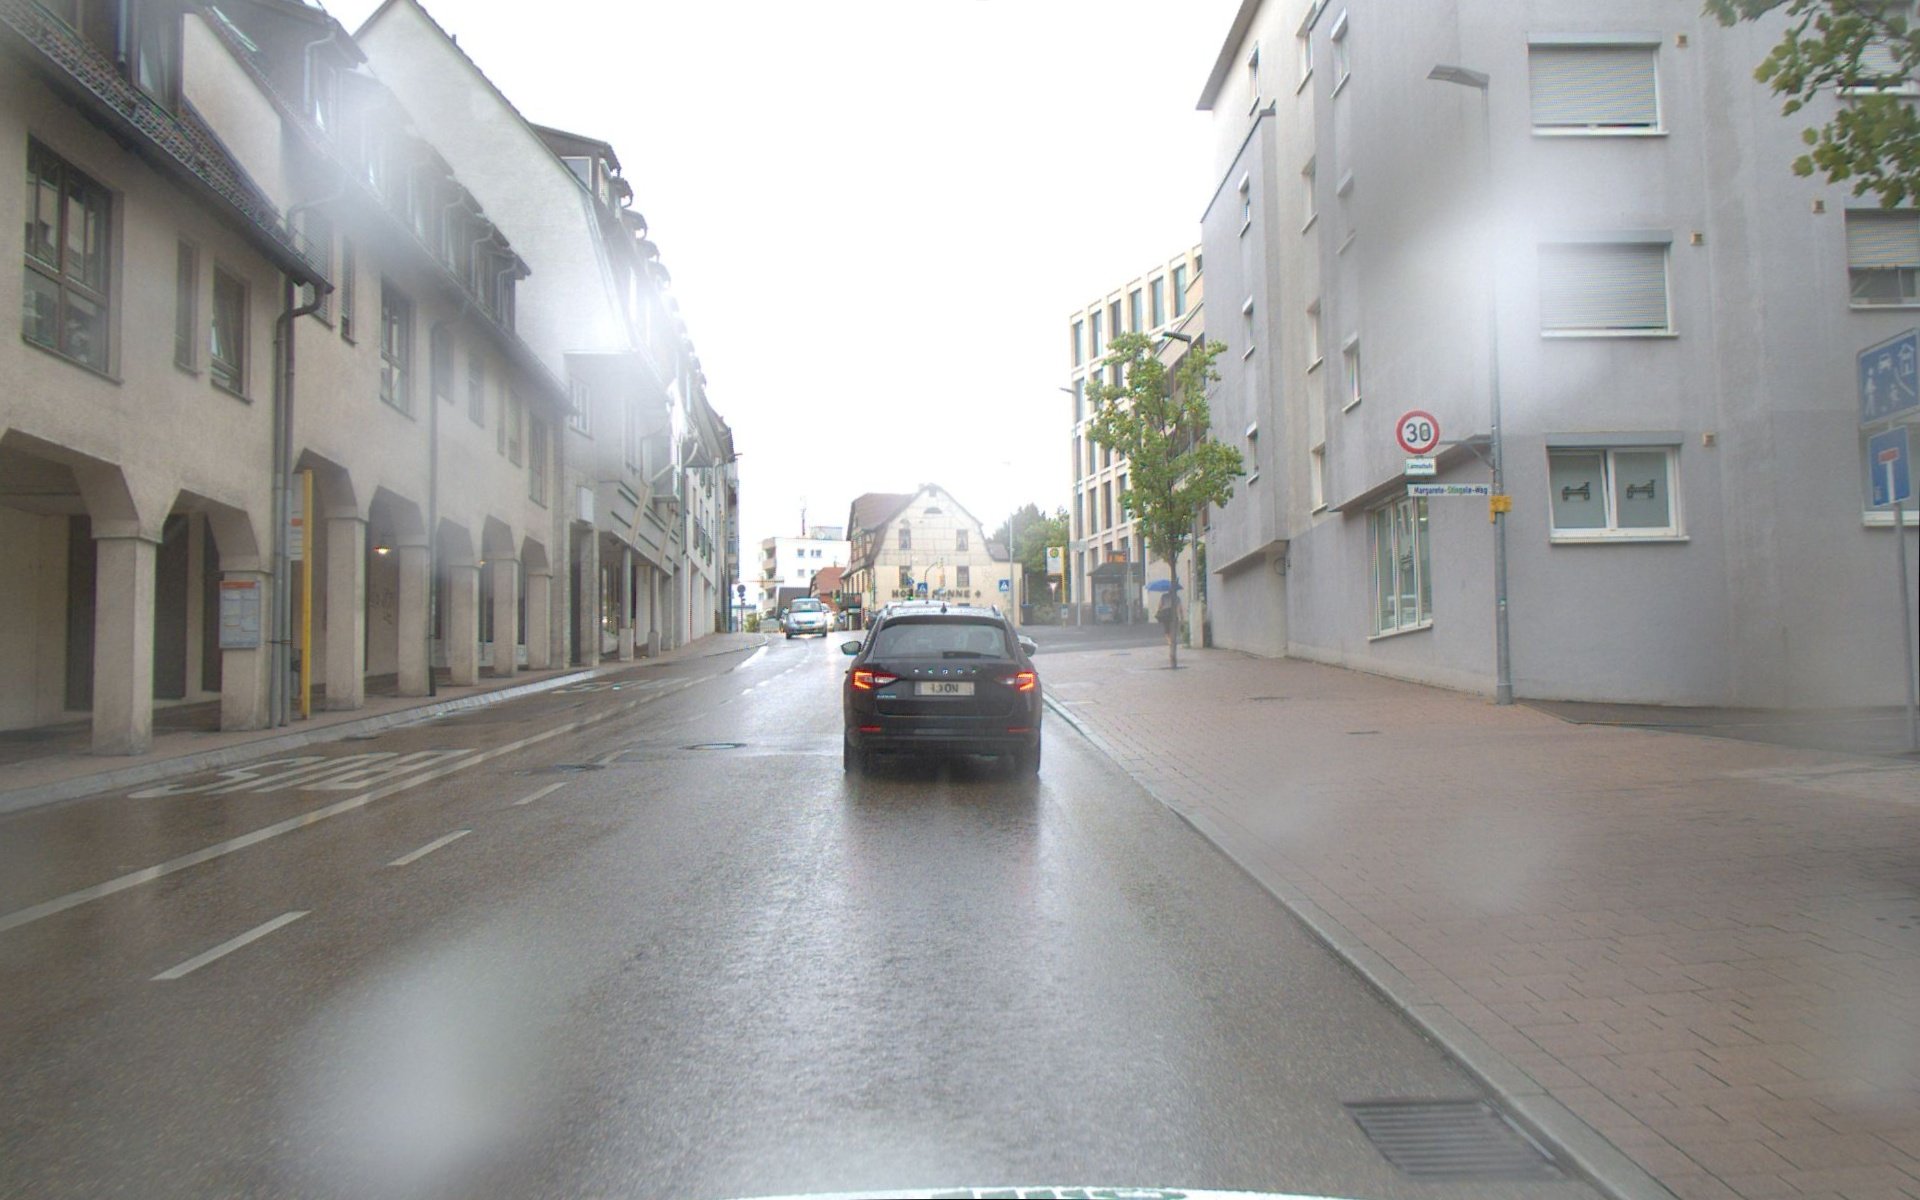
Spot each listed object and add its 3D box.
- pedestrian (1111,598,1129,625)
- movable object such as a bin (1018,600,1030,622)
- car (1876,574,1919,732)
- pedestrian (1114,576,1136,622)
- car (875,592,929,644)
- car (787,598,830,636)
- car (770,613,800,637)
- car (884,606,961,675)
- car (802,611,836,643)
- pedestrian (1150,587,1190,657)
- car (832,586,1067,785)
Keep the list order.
[{"bbox_3d":[7.210,0.534,74.573,0.658,1.182,0.635,-3,0,-2],"label":"pedestrian"},{"bbox_3d":[3.299,0.569,85.471,0.583,1.081,0.578,-2,0,-3],"label":"movable object such as a bin"},{"bbox_3d":[10.896,0.366,15.415,3.688,1.479,1.743,-4,-1,-3],"label":"car"},{"bbox_3d":[7.293,-0.058,73.047,0.766,1.974,1.021,-3,0,-2],"label":"pedestrian"},{"bbox_3d":[-1.897,0.582,54.127,1.647,1.587,3.998,-2,0,-2],"label":"car"},{"bbox_3d":[-6.435,0.698,70.460,1.643,1.536,3.586,-1,0,-3],"label":"car"},{"bbox_3d":[-10.969,1.561,103.401,1.646,1.434,3.581,-1,0,-9],"label":"car"},{"bbox_3d":[-0.935,0.920,39.568,1.644,1.536,3.585,-1,0,-4],"label":"car"},{"bbox_3d":[-7.125,1.356,83.792,1.644,1.536,3.585,-1,0,-4],"label":"car"},{"bbox_3d":[4.952,0.521,38.970,0.721,1.569,1.038,-4,0,1],"label":"pedestrian"},{"bbox_3d":[-0.158,0.704,15.813,1.905,1.594,4.415,-1,0,-2],"label":"car"}]
